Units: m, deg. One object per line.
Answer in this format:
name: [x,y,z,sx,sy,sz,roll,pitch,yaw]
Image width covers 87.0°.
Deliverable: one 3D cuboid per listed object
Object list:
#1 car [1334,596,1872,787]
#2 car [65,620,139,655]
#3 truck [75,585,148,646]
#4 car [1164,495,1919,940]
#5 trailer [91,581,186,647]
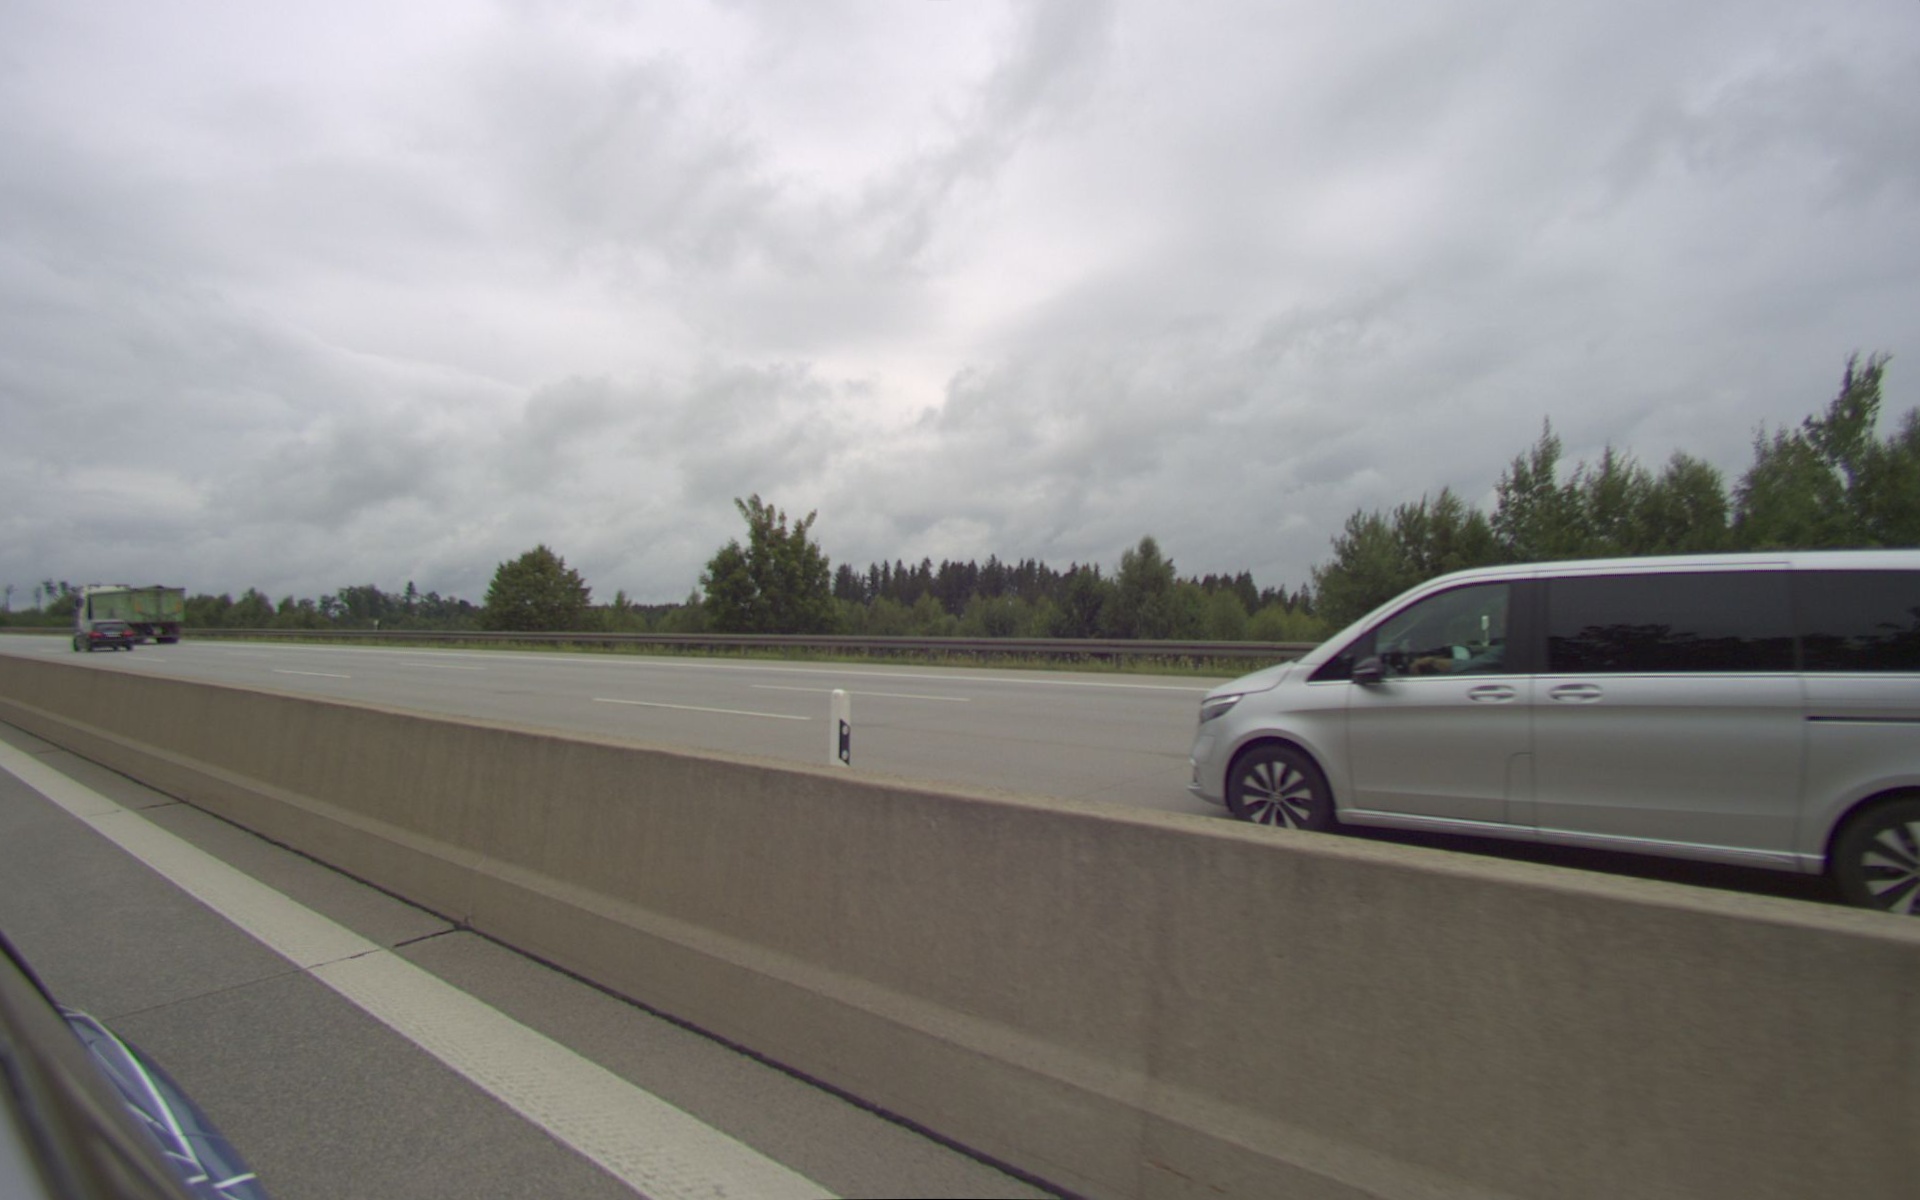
car: [6.008,0.784,9.782,4.096,1.378,1.718,-3,1,42]
car: [-42.585,1.835,50.195,4.766,1.601,1.974,-1,-1,39]
truck: [-55.959,1.008,66.702,5.526,3.831,2.723,-1,0,40]
car: [4.191,0.545,6.051,5.521,2.029,1.973,-2,0,40]
trailer: [-50.767,0.914,62.453,9.305,3.828,2.722,-1,-1,39]
